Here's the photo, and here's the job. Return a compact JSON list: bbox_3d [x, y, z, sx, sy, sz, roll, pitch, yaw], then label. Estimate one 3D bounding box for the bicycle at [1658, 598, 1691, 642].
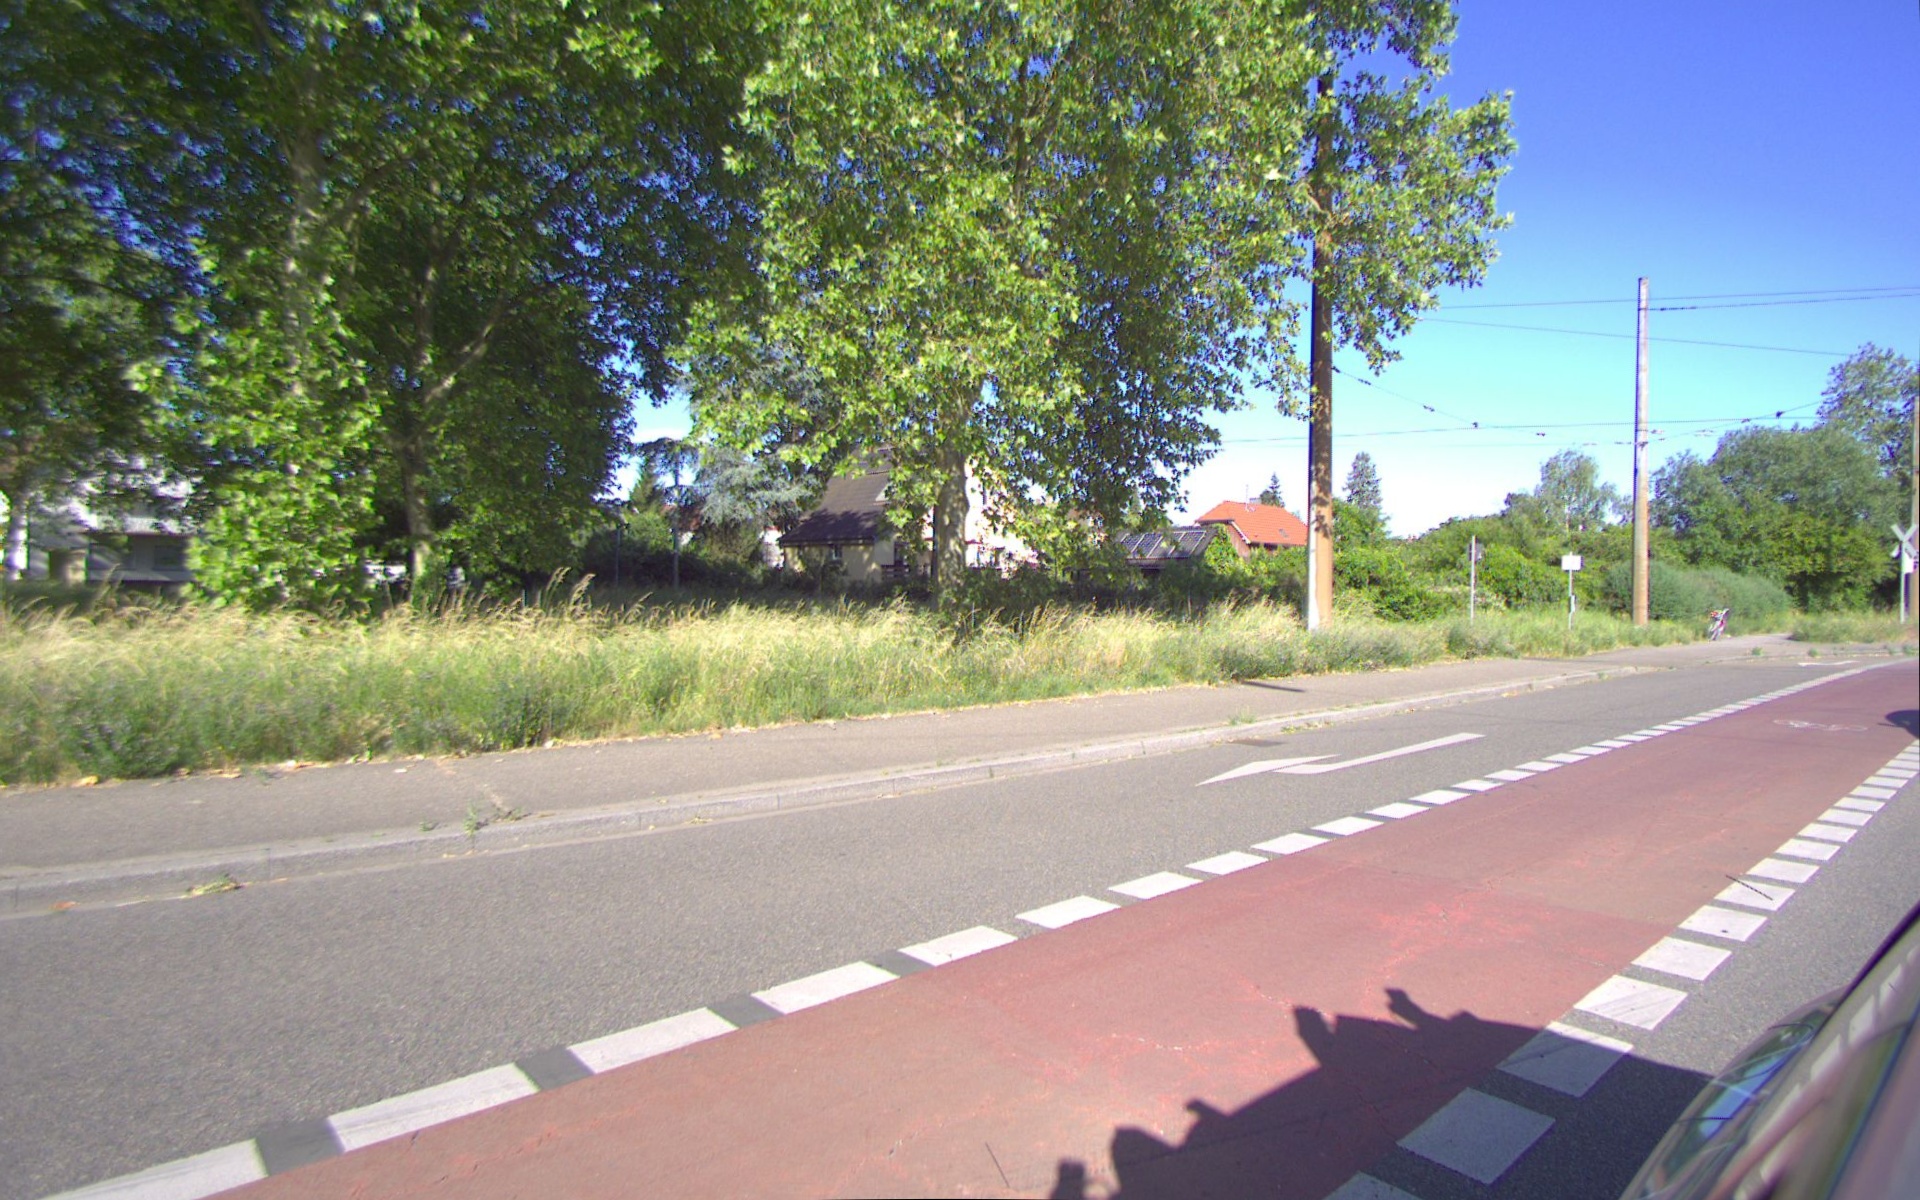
[{"bbox_3d":[19.369,0.521,27.474,0.362,1.149,2.077,1,1,26],"label":"bicycle"}]
